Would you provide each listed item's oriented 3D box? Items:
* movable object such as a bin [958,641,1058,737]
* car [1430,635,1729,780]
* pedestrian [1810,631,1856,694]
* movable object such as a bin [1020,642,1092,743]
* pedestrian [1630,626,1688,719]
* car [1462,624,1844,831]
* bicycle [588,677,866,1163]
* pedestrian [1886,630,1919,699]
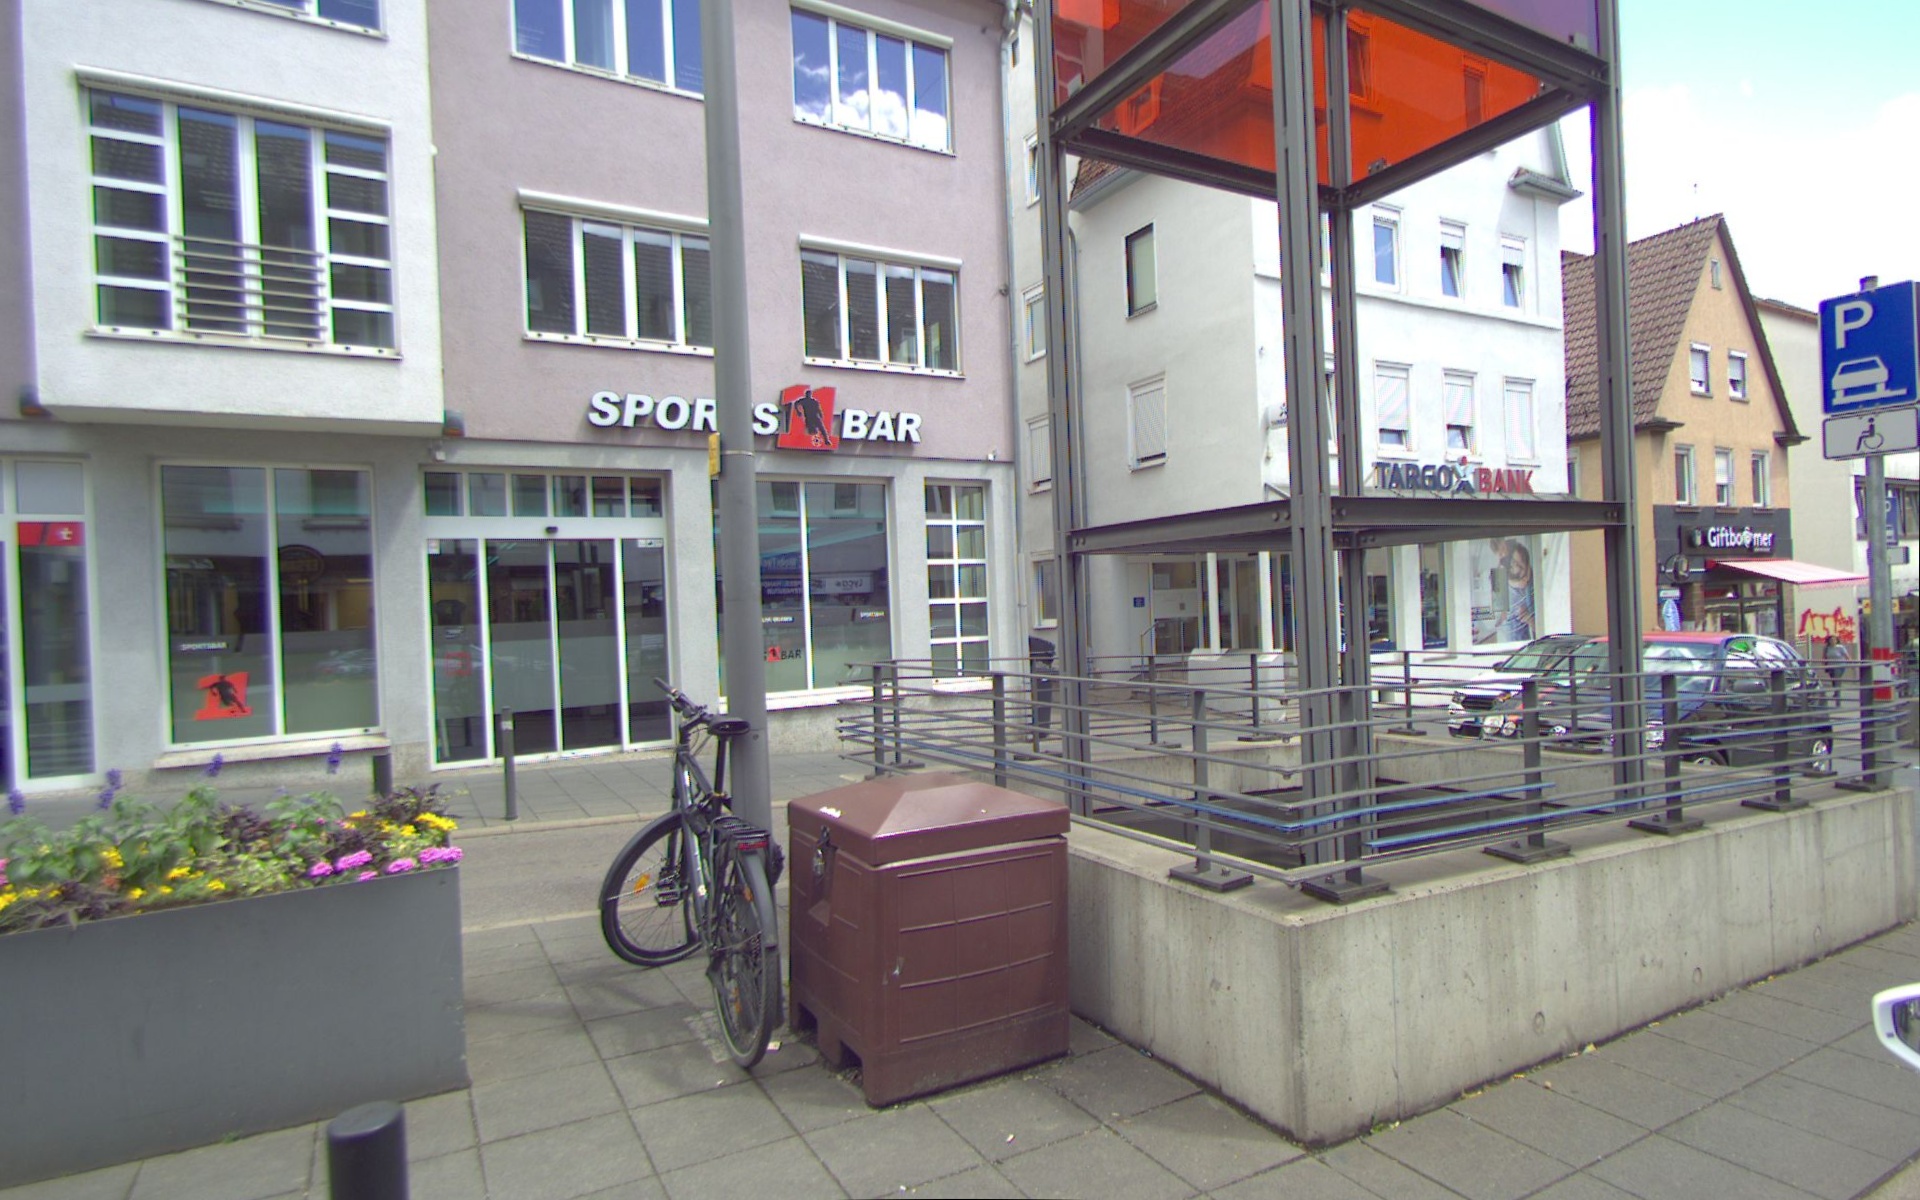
[{"bbox_3d":[0.737,1.356,15.705,1.055,1.394,1.277,1,-1,-30],"label":"movable object such as a bin"},{"bbox_3d":[8.208,1.303,13.228,4.075,1.592,1.671,2,0,-31],"label":"car"},{"bbox_3d":[22.263,1.591,25.614,0.706,1.594,0.564,1,-3,-23],"label":"pedestrian"},{"bbox_3d":[1.399,1.328,14.696,0.798,1.394,0.686,1,-1,-31],"label":"movable object such as a bin"},{"bbox_3d":[13.321,1.359,19.151,0.818,1.711,0.636,1,-1,-32],"label":"pedestrian"},{"bbox_3d":[6.321,0.990,9.046,3.815,1.495,1.559,2,-1,-34],"label":"car"},{"bbox_3d":[-0.926,0.936,3.617,0.454,1.239,1.769,1,-2,-31],"label":"bicycle"},{"bbox_3d":[24.098,1.633,25.475,0.653,1.711,0.646,1,-1,9],"label":"pedestrian"}]
